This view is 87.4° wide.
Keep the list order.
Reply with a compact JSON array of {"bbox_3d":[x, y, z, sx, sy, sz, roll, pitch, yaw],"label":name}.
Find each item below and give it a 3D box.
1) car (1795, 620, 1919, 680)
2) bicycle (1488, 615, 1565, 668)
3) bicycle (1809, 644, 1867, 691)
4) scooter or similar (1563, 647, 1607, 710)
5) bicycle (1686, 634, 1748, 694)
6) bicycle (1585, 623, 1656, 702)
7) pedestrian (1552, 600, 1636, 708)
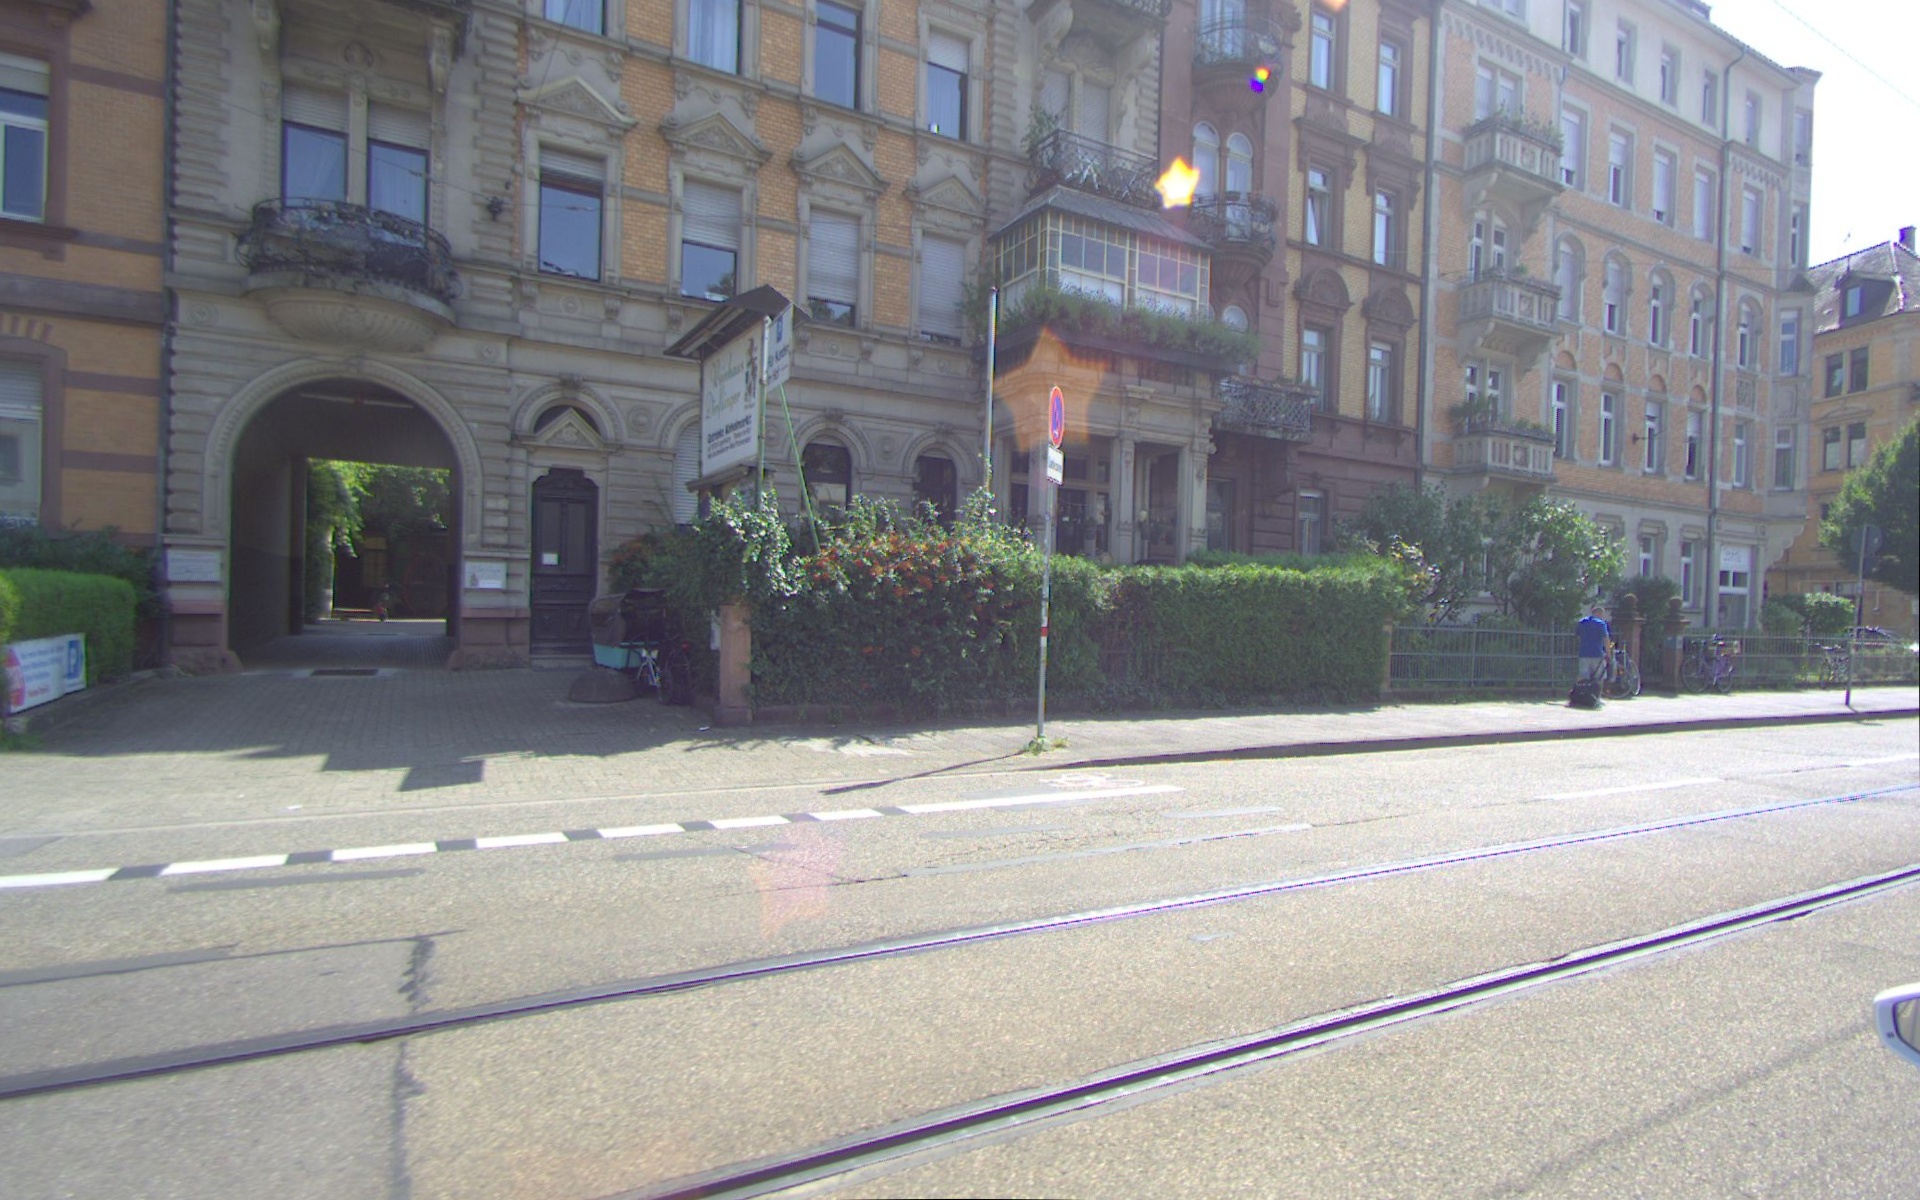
[{"bbox_3d":[28.484,1.529,30.744,1.855,1.616,4.086,2,1,-27],"label":"car"},{"bbox_3d":[11.976,0.869,21.282,0.387,1.046,1.392,1,0,-31],"label":"bicycle"},{"bbox_3d":[20.415,1.551,23.350,1.810,1.052,0.388,1,1,-29],"label":"bicycle"},{"bbox_3d":[10.375,1.287,16.668,0.579,0.995,0.397,2,1,-37],"label":"scooter or similar"},{"bbox_3d":[15.431,1.290,20.465,1.562,1.163,0.388,1,1,-29],"label":"bicycle"},{"bbox_3d":[12.330,1.147,18.735,1.562,1.425,0.388,1,1,-29],"label":"bicycle"},{"bbox_3d":[10.880,0.900,17.249,0.859,1.779,0.879,1,0,-29],"label":"pedestrian"}]
